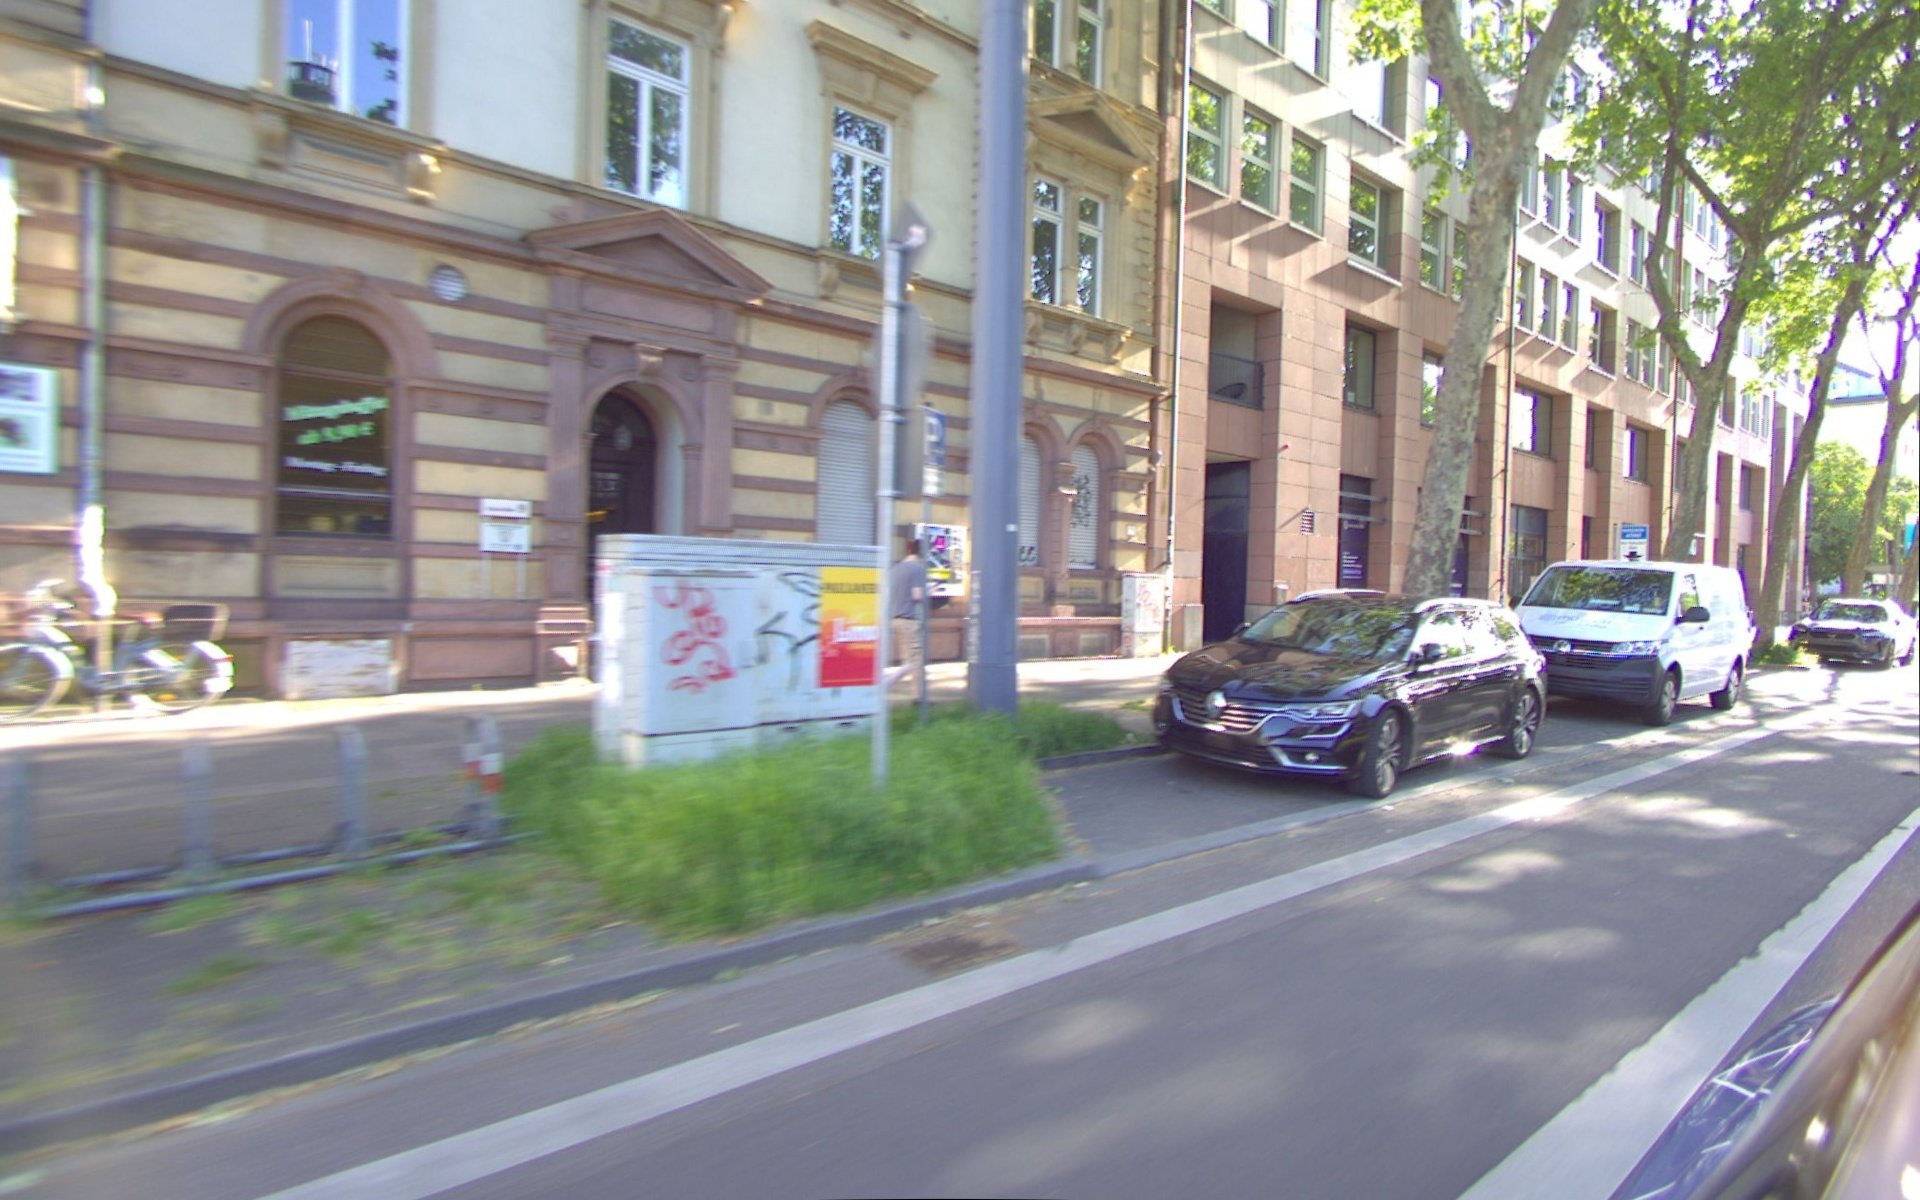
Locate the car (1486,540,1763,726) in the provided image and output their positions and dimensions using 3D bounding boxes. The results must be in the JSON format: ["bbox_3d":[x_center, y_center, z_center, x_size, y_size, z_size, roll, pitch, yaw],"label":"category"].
[{"bbox_3d":[8.879,0.345,13.353,4.641,2.039,1.859,0,0,-41],"label":"car"}]

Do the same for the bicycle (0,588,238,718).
[{"bbox_3d":[-7.189,0.411,8.459,1.849,1.010,0.415,0,1,-41],"label":"bicycle"}]

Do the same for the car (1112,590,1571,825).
[{"bbox_3d":[3.516,0.680,8.820,4.626,1.534,1.821,0,0,-42],"label":"car"}]

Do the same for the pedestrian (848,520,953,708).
[{"bbox_3d":[-0.615,0.132,10.490,0.879,1.850,0.644,0,0,-40],"label":"pedestrian"}]

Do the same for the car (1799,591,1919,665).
[{"bbox_3d":[21.170,0.584,23.620,4.203,1.590,1.672,0,0,-39],"label":"car"}]

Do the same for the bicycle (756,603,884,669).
[{"bbox_3d":[-1.842,0.454,13.457,1.634,0.783,0.550,0,4,-41],"label":"bicycle"}]
